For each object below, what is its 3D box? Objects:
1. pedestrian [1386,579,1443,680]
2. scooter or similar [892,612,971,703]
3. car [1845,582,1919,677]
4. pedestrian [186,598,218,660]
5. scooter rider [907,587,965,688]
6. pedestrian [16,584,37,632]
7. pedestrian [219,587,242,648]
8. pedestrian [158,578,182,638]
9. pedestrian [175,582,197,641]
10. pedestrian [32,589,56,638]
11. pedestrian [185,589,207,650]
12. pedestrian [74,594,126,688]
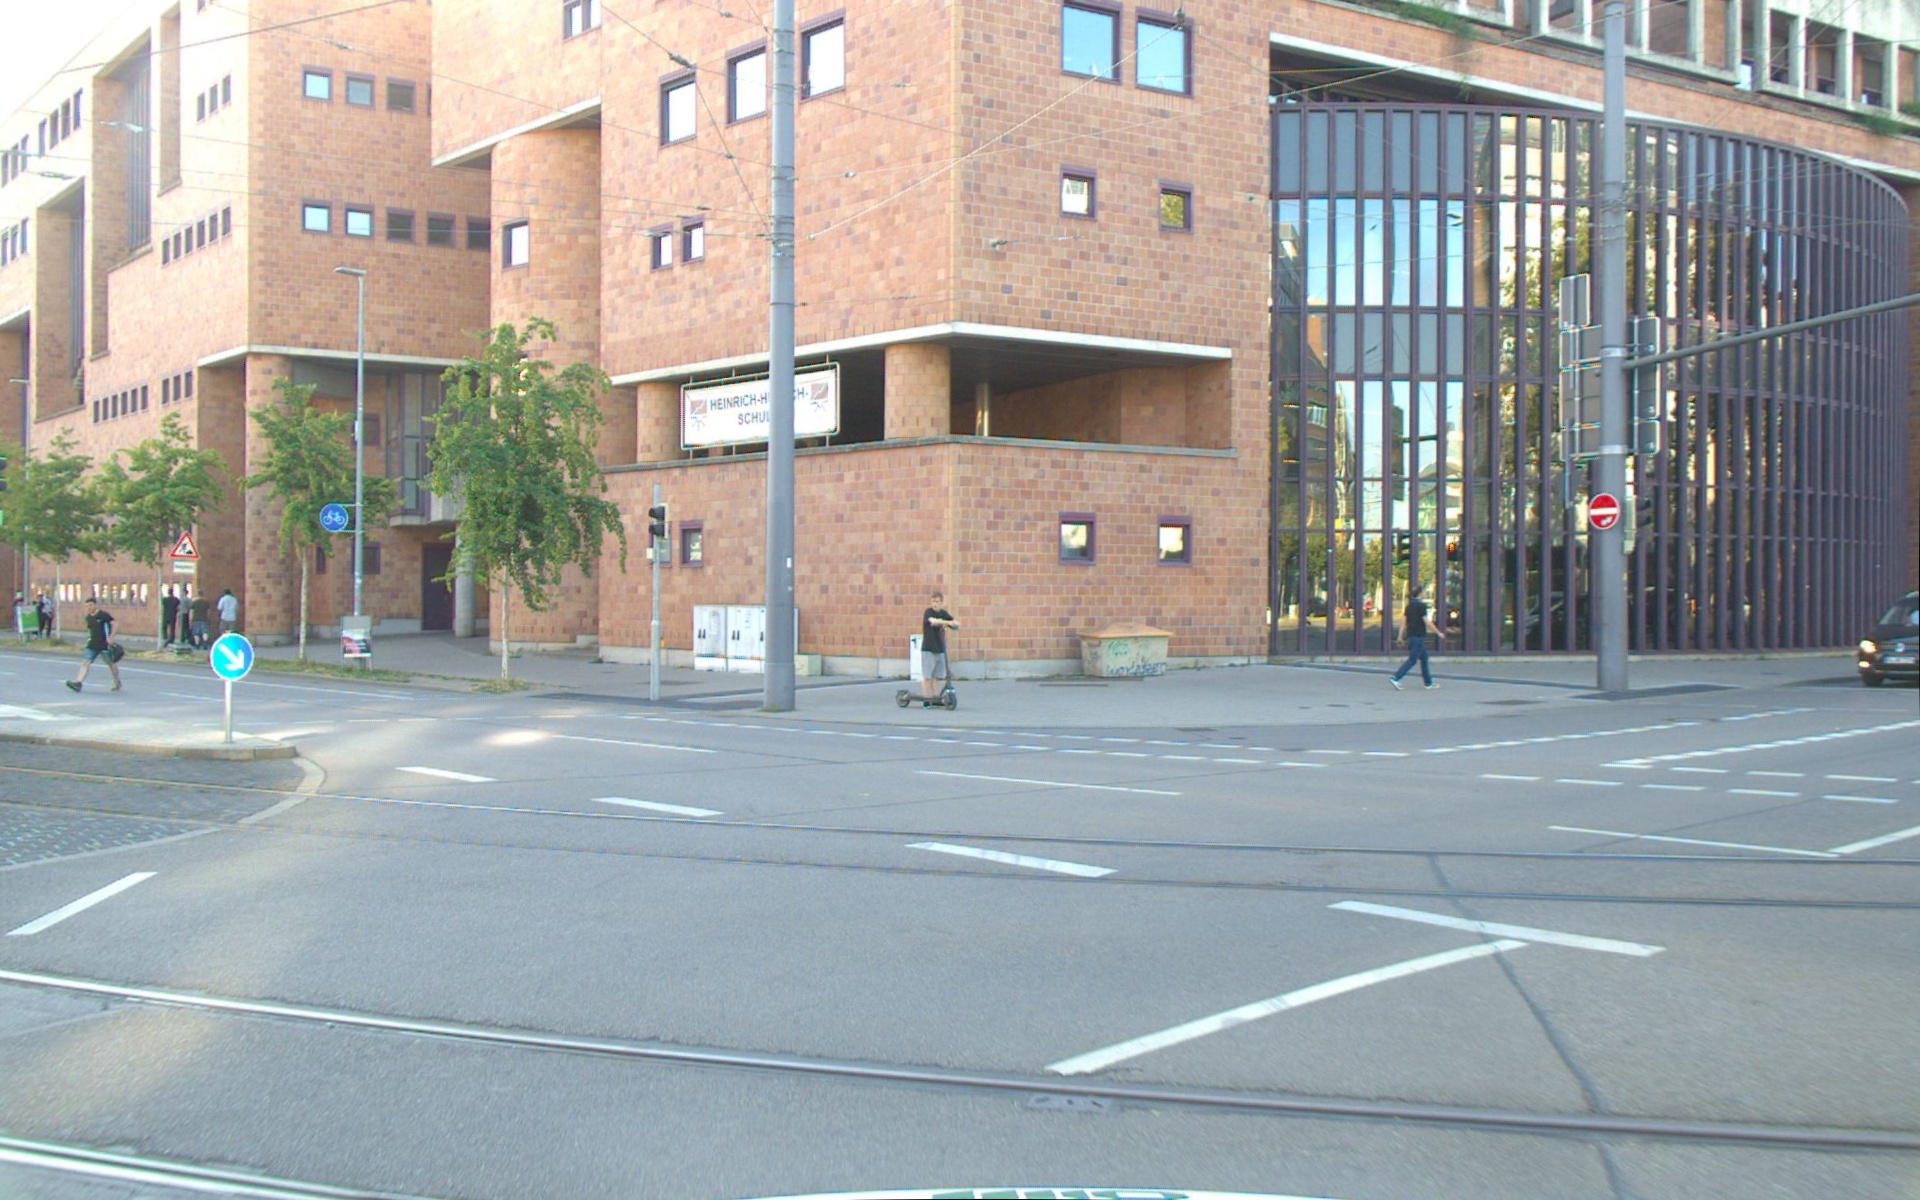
[{"bbox_3d":[7.897,0.506,28.739,0.804,1.746,0.664,0,0,0],"label":"pedestrian"},{"bbox_3d":[-0.435,0.848,24.884,1.111,1.341,0.526,0,0,40],"label":"scooter or similar"},{"bbox_3d":[18.524,0.524,31.096,4.459,1.683,1.812,0,-1,-40],"label":"car"},{"bbox_3d":[-22.103,0.827,48.251,0.720,1.787,0.693,0,0,-15],"label":"pedestrian"},{"bbox_3d":[-0.360,0.549,24.825,0.709,1.486,0.505,0,0,40],"label":"scooter rider"},{"bbox_3d":[-34.960,0.286,61.945,0.413,1.787,0.536,0,0,33],"label":"pedestrian"},{"bbox_3d":[-21.612,0.507,48.973,0.531,1.787,0.688,0,0,-32],"label":"pedestrian"},{"bbox_3d":[-23.751,0.245,49.710,0.534,1.787,0.457,0,0,-44],"label":"pedestrian"},{"bbox_3d":[-23.665,0.343,50.582,0.533,1.787,0.415,0,0,-41],"label":"pedestrian"},{"bbox_3d":[-32.747,0.477,59.140,0.630,1.743,0.569,0,0,42],"label":"pedestrian"},{"bbox_3d":[-22.732,0.574,49.215,0.531,1.787,0.688,0,0,-32],"label":"pedestrian"},{"bbox_3d":[-14.713,0.683,28.288,0.707,1.565,0.841,0,0,-34],"label":"pedestrian"}]
